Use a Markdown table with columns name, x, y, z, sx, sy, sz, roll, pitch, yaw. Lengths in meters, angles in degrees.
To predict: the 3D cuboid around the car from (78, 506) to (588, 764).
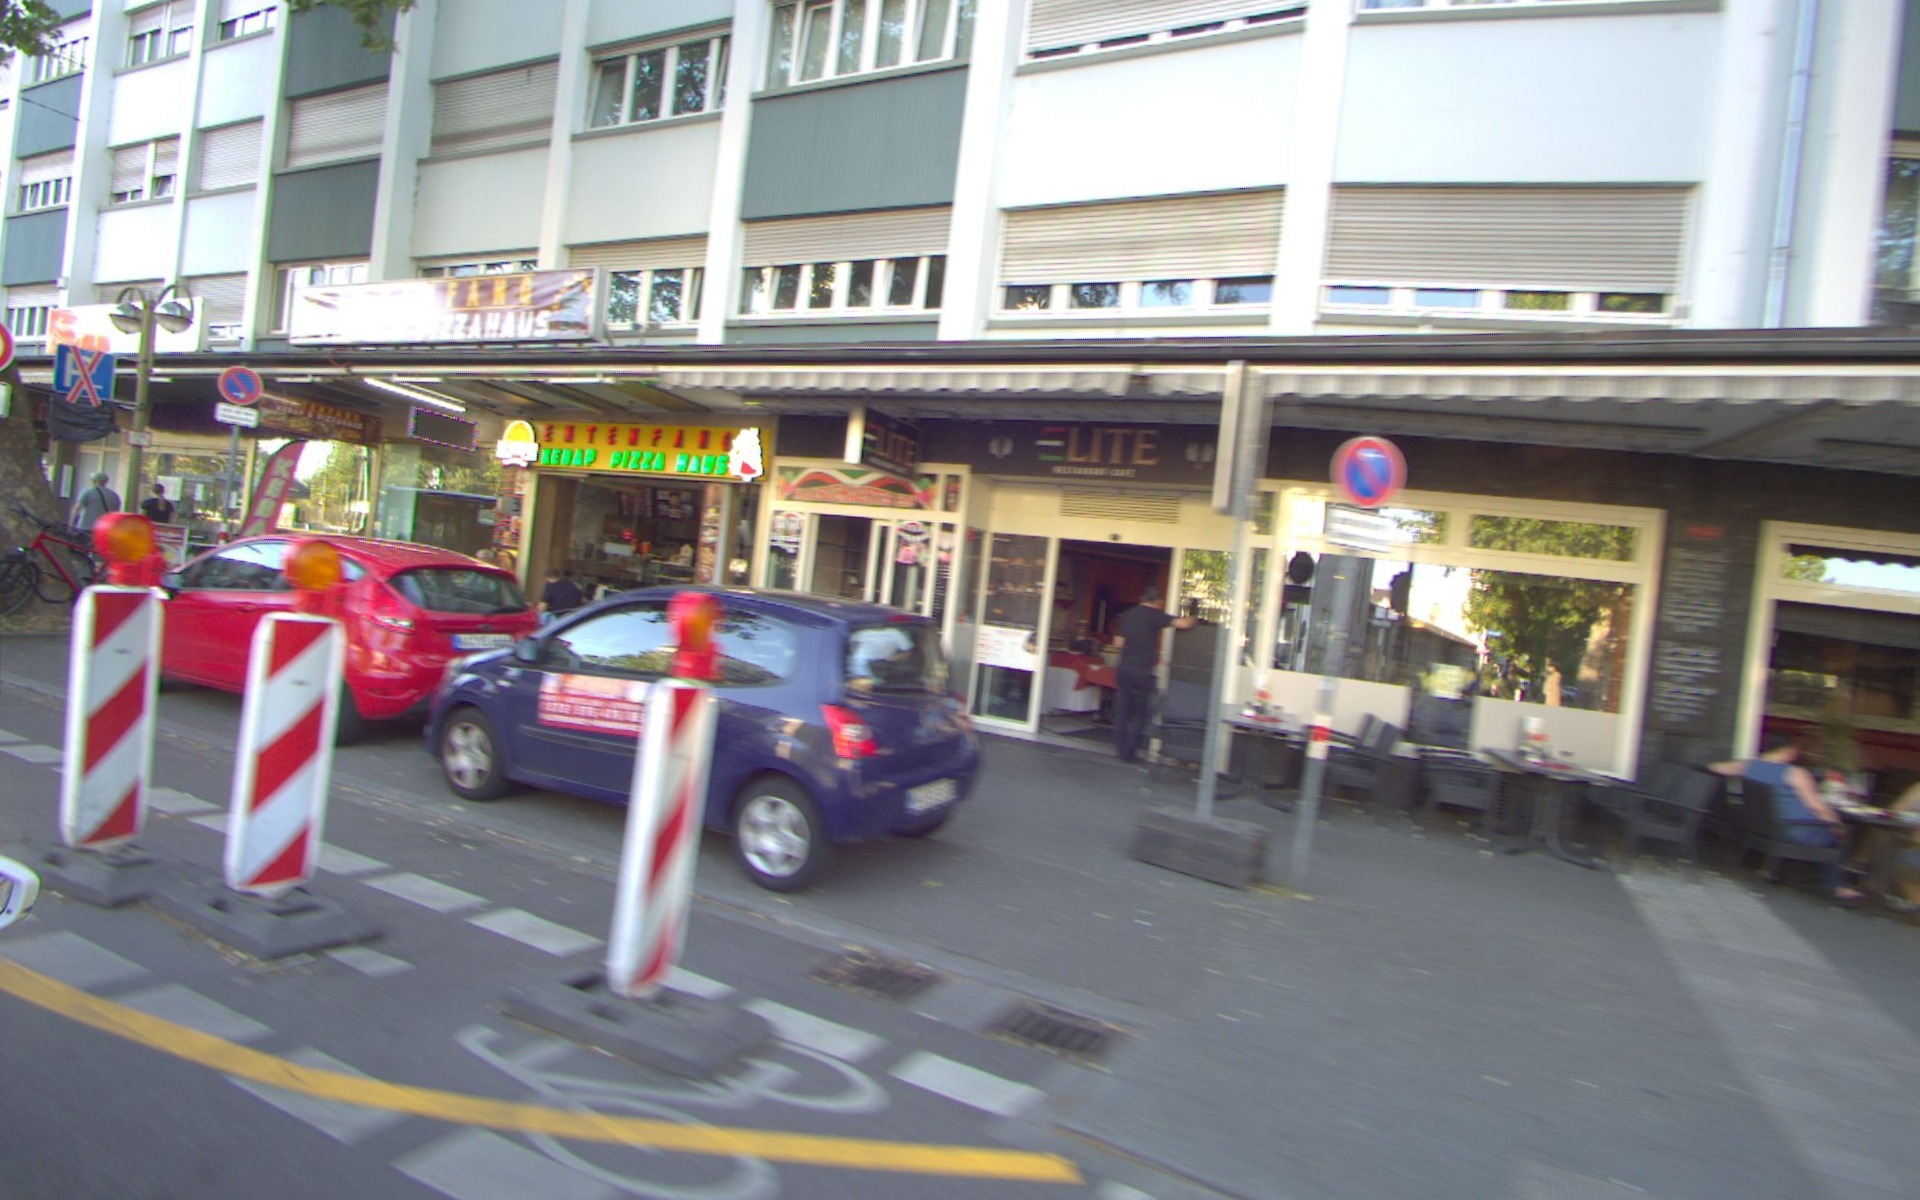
| name | x | y | z | sx | sy | sz | roll | pitch | yaw |
| --- | --- | --- | --- | --- | --- | --- | --- | --- | --- |
| car | -5.143 | 0.181 | 8.228 | 3.778 | 1.448 | 1.669 | 7 | 2 | 24 |

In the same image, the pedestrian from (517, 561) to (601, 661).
| name | x | y | z | sx | sy | sz | roll | pitch | yaw |
| --- | --- | --- | --- | --- | --- | --- | --- | --- | --- |
| pedestrian | -5.055 | 0.132 | 12.685 | 0.740 | 1.172 | 0.593 | 7 | 3 | 30 |

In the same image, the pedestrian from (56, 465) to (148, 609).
| name | x | y | z | sx | sy | sz | roll | pitch | yaw |
| --- | --- | --- | --- | --- | --- | --- | --- | --- | --- |
| pedestrian | -12.847 | -0.931 | 15.075 | 0.684 | 2.039 | 0.692 | 7 | 1 | 27 |

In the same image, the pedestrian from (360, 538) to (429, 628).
| name | x | y | z | sx | sy | sz | roll | pitch | yaw |
| --- | --- | --- | --- | --- | --- | --- | --- | --- | --- |
| pedestrian | -8.380 | -0.248 | 14.912 | 0.701 | 1.260 | 0.614 | 7 | 4 | 38 |

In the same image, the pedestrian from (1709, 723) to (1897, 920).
| name | x | y | z | sx | sy | sz | roll | pitch | yaw |
| --- | --- | --- | --- | --- | --- | --- | --- | --- | --- |
| pedestrian | 6.400 | 1.659 | 7.680 | 0.704 | 1.268 | 0.650 | 8 | 2 | 4 |

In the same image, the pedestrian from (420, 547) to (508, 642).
| name | x | y | z | sx | sy | sz | roll | pitch | yaw |
| --- | --- | --- | --- | --- | --- | --- | --- | --- | --- |
| pedestrian | -6.929 | -0.074 | 14.050 | 0.687 | 1.237 | 0.862 | 8 | 4 | 43 |

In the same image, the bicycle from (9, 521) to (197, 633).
| name | x | y | z | sx | sy | sz | roll | pitch | yaw |
| --- | --- | --- | --- | --- | --- | --- | --- | --- | --- |
| bicycle | -9.029 | -0.217 | 10.638 | 0.291 | 1.082 | 1.456 | 12 | 7 | 40 |

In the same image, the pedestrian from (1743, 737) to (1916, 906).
| name | x | y | z | sx | sy | sz | roll | pitch | yaw |
| --- | --- | --- | --- | --- | --- | --- | --- | --- | --- |
| pedestrian | 7.118 | 1.794 | 8.273 | 0.638 | 1.144 | 0.717 | 8 | 2 | 4 |

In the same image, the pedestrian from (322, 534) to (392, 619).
| name | x | y | z | sx | sy | sz | roll | pitch | yaw |
| --- | --- | --- | --- | --- | --- | --- | --- | --- | --- |
| pedestrian | -9.250 | -0.363 | 15.433 | 0.694 | 1.220 | 0.676 | 7 | 4 | 39 |

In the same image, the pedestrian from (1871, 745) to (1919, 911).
| name | x | y | z | sx | sy | sz | roll | pitch | yaw |
| --- | --- | --- | --- | --- | --- | --- | --- | --- | --- |
| pedestrian | 7.855 | 1.850 | 8.051 | 0.514 | 1.260 | 0.548 | 6 | 2 | -28 |

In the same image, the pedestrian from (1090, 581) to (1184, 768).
| name | x | y | z | sx | sy | sz | roll | pitch | yaw |
| --- | --- | --- | --- | --- | --- | --- | --- | --- | --- |
| pedestrian | 1.773 | 0.725 | 10.059 | 0.579 | 1.759 | 0.596 | 8 | 3 | 27 |

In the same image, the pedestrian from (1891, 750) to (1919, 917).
| name | x | y | z | sx | sy | sz | roll | pitch | yaw |
| --- | --- | --- | --- | --- | --- | --- | --- | --- | --- |
| pedestrian | 7.674 | 1.828 | 7.525 | 0.704 | 1.234 | 0.666 | 8 | 2 | 23 |

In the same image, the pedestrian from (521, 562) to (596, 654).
| name | x | y | z | sx | sy | sz | roll | pitch | yaw |
| --- | --- | --- | --- | --- | --- | --- | --- | --- | --- |
| pedestrian | -5.438 | 0.107 | 13.638 | 0.585 | 1.172 | 0.671 | 7 | 3 | 29 |

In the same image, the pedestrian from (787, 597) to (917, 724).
| name | x | y | z | sx | sy | sz | roll | pitch | yaw |
| --- | --- | --- | --- | --- | --- | --- | --- | --- | --- |
| pedestrian | -1.176 | 0.640 | 11.084 | 0.766 | 1.249 | 1.203 | 7 | 3 | 31 |

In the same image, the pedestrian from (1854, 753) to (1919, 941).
| name | x | y | z | sx | sy | sz | roll | pitch | yaw |
| --- | --- | --- | --- | --- | --- | --- | --- | --- | --- |
| pedestrian | 6.951 | 1.770 | 6.956 | 0.638 | 1.213 | 0.846 | 8 | 2 | 6 |

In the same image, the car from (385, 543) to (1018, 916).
| name | x | y | z | sx | sy | sz | roll | pitch | yaw |
| --- | --- | --- | --- | --- | --- | --- | --- | --- | --- |
| car | -1.645 | 0.599 | 6.297 | 3.541 | 1.486 | 1.621 | 7 | 2 | 26 |

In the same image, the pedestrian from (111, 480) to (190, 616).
| name | x | y | z | sx | sy | sz | roll | pitch | yaw |
| --- | --- | --- | --- | --- | --- | --- | --- | --- | --- |
| pedestrian | -12.862 | -0.821 | 15.984 | 0.684 | 2.039 | 0.613 | 7 | 1 | 29 |
